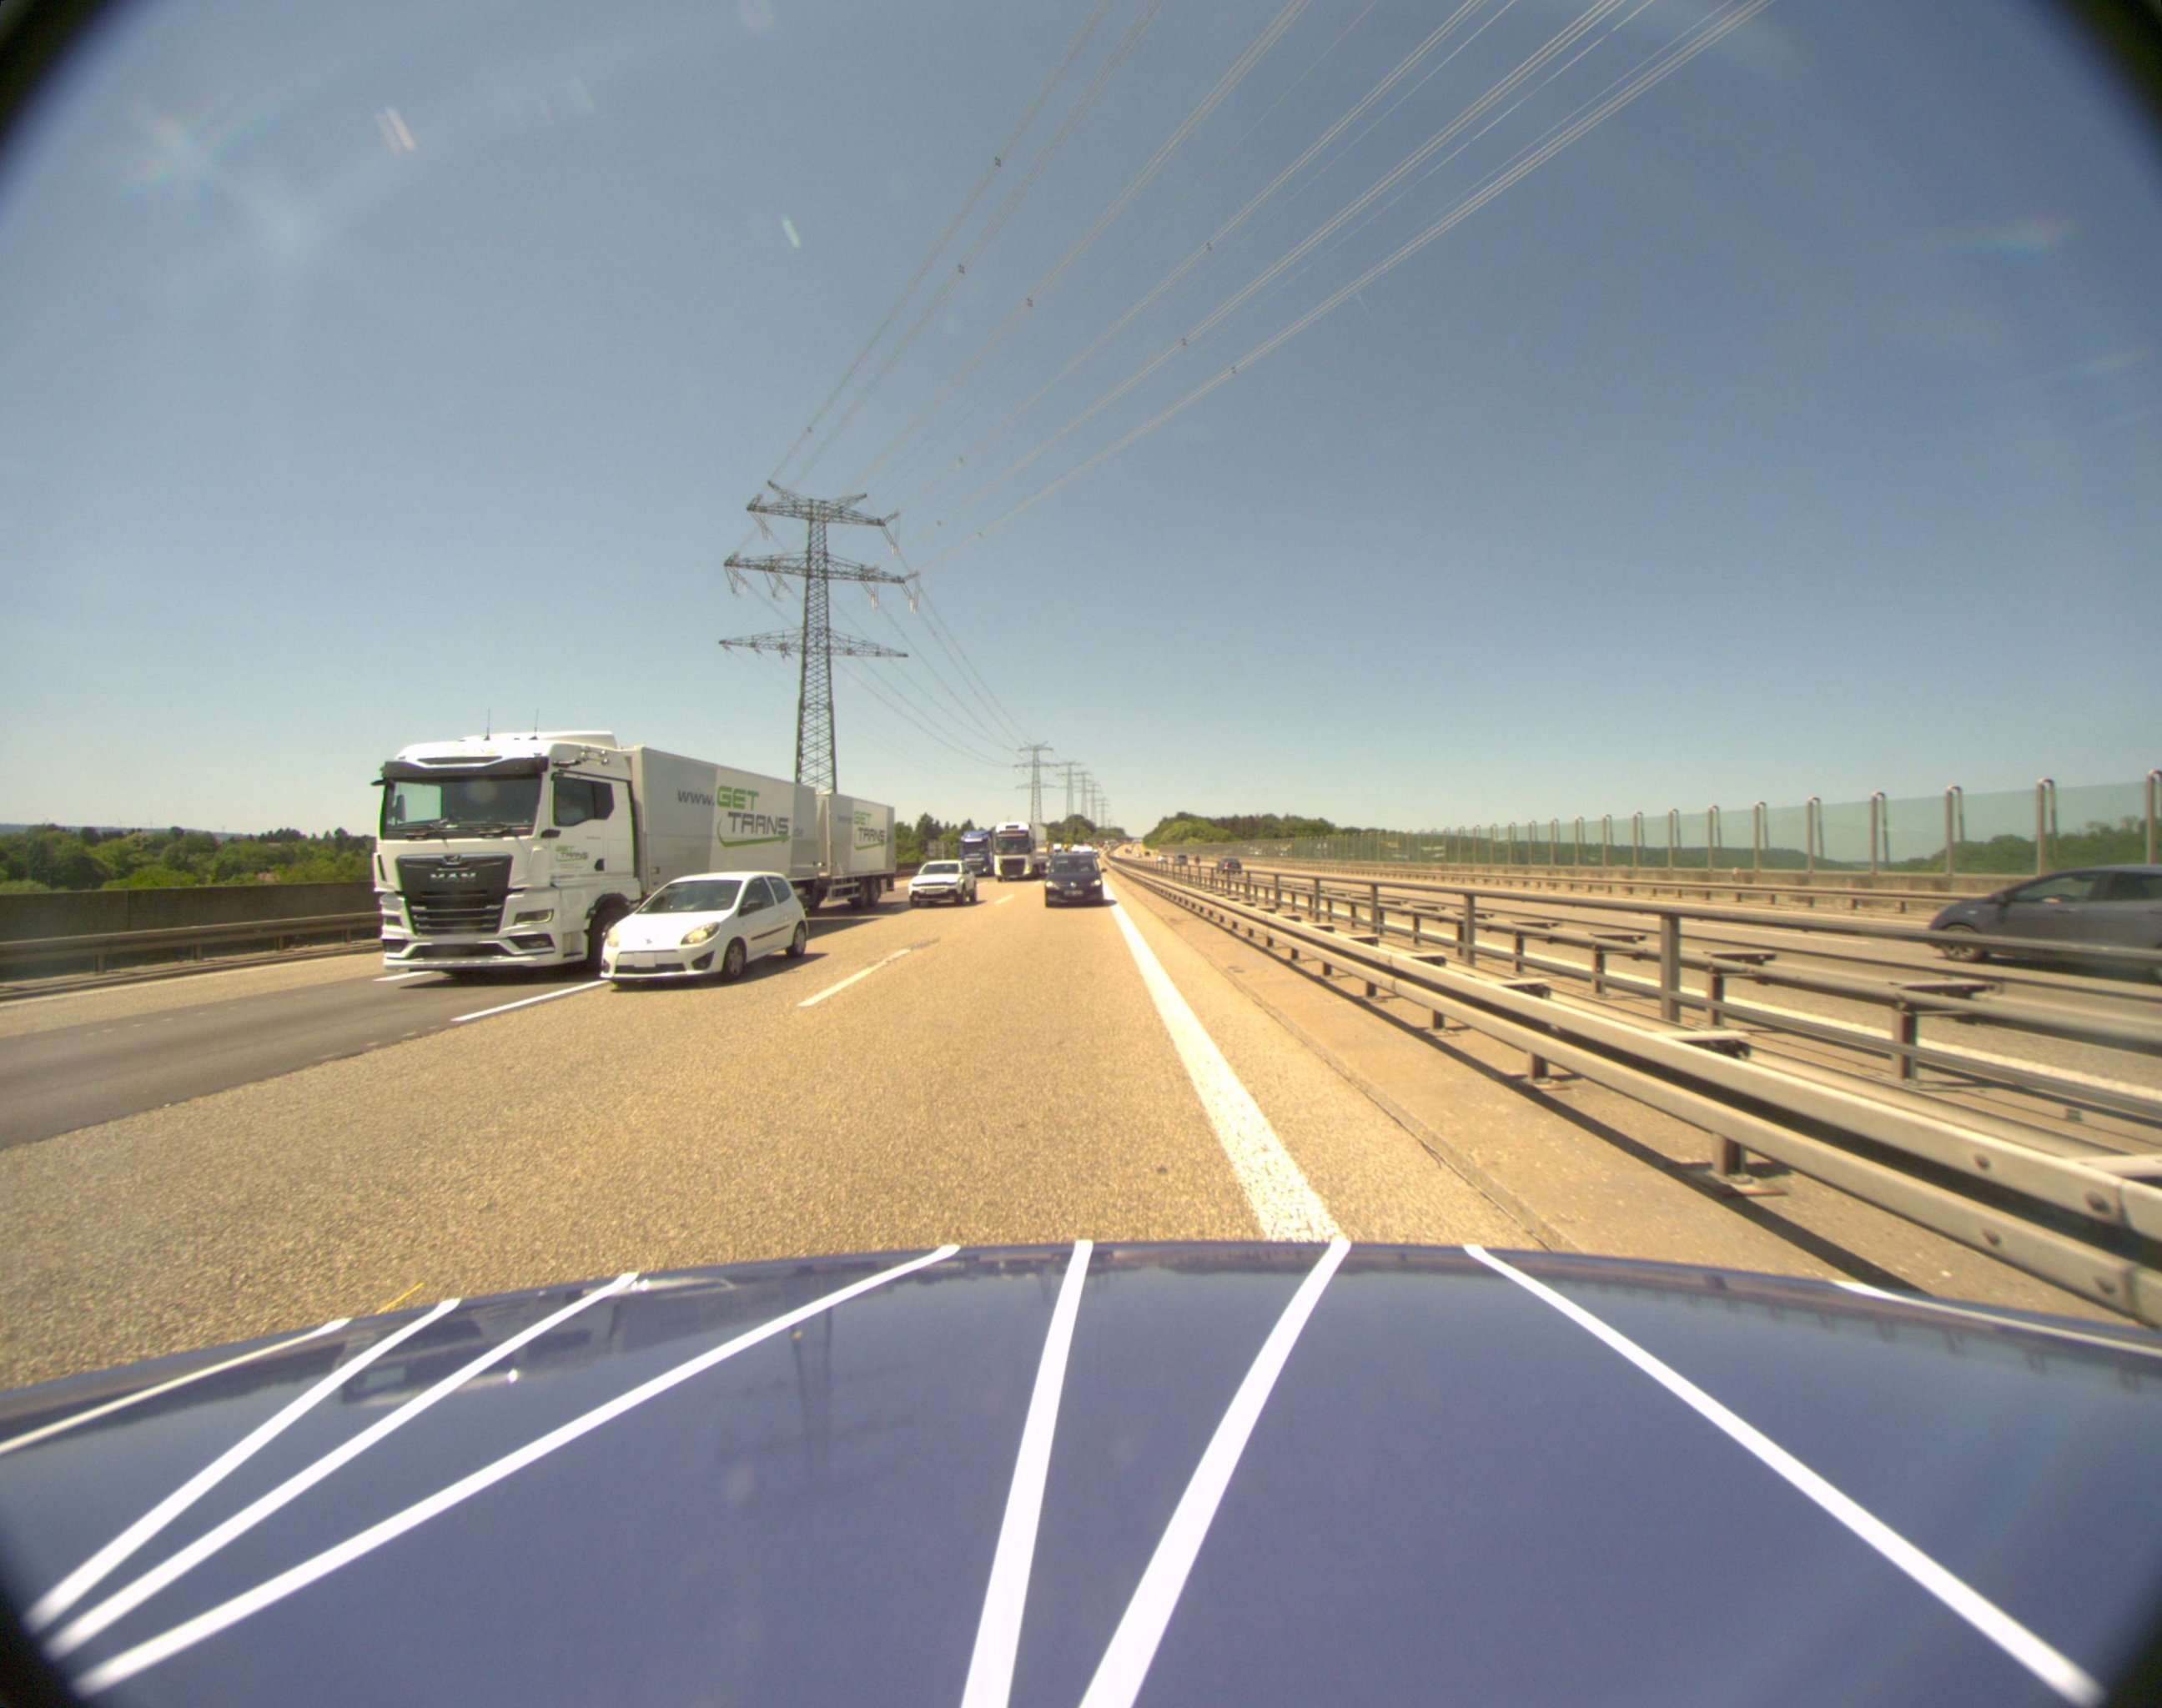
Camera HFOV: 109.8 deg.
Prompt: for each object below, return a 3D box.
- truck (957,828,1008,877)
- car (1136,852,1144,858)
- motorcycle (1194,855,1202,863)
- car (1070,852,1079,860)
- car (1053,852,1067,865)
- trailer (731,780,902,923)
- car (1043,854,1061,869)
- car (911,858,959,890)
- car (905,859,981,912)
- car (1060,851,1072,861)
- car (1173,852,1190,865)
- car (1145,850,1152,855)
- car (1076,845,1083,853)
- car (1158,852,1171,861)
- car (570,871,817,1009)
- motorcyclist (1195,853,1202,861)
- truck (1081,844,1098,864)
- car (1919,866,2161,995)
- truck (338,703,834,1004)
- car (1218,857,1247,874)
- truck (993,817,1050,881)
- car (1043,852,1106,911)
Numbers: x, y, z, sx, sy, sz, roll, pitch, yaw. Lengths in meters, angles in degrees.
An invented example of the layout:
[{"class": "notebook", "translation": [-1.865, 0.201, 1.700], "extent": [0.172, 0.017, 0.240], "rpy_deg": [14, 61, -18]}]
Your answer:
[{"class": "truck", "translation": [-8.575, -0.197, 67.681], "extent": [2.841, 3.858, 11.272], "rpy_deg": [-3, 1, 0]}, {"class": "car", "translation": [17.402, 0.311, 223.470], "extent": [1.820, 1.645, 3.999], "rpy_deg": [-3, 1, 0]}, {"class": "motorcycle", "translation": [18.439, 0.780, 119.600], "extent": [0.792, 1.065, 2.650], "rpy_deg": [0, 1, 0]}, {"class": "car", "translation": [-1.456, 0.462, 163.808], "extent": [1.821, 1.569, 3.999], "rpy_deg": [-2, 1, 0]}, {"class": "car", "translation": [-2.876, 0.611, 106.152], "extent": [1.821, 1.569, 3.999], "rpy_deg": [-2, 1, 0]}, {"class": "trailer", "translation": [-8.376, -0.085, 25.347], "extent": [2.752, 3.918, 7.773], "rpy_deg": [-3, 0, 0]}, {"class": "car", "translation": [-3.414, 0.842, 90.100], "extent": [1.821, 1.569, 3.999], "rpy_deg": [-2, 1, 0]}, {"class": "car", "translation": [-8.159, 1.062, 42.691], "extent": [1.821, 1.569, 3.999], "rpy_deg": [-2, 1, 0]}, {"class": "car", "translation": [-4.661, 1.013, 26.178], "extent": [1.776, 1.521, 3.851], "rpy_deg": [-3, 1, 1]}, {"class": "car", "translation": [-2.447, 0.326, 126.512], "extent": [1.821, 1.569, 3.999], "rpy_deg": [-2, 1, 0]}, {"class": "car", "translation": [14.037, 0.661, 106.192], "extent": [1.786, 1.692, 4.154], "rpy_deg": [0, 1, 0]}, {"class": "car", "translation": [22.382, -0.491, 252.270], "extent": [1.820, 1.824, 3.999], "rpy_deg": [-3, 1, 0]}, {"class": "car", "translation": [-0.357, -1.381, 216.067], "extent": [1.998, 2.002, 3.999], "rpy_deg": [-3, 1, 0]}, {"class": "car", "translation": [15.104, 0.521, 137.646], "extent": [1.735, 1.481, 4.124], "rpy_deg": [-3, 1, 0]}, {"class": "car", "translation": [-5.464, 1.109, 11.322], "extent": [1.660, 1.501, 3.825], "rpy_deg": [-3, 1, 0]}, {"class": "motorcyclist", "translation": [18.440, 0.476, 119.288], "extent": [0.921, 1.276, 1.286], "rpy_deg": [-3, 1, 0]}, {"class": "truck", "translation": [1.284, -0.041, 110.068], "extent": [2.309, 2.789, 5.109], "rpy_deg": [-3, 1, 1]}, {"class": "car", "translation": [13.722, 0.941, 9.921], "extent": [1.656, 1.454, 3.541], "rpy_deg": [0, 1, 1]}, {"class": "truck", "translation": [-8.438, -0.023, 15.807], "extent": [2.695, 3.907, 11.296], "rpy_deg": [-3, 0, 0]}, {"class": "car", "translation": [13.332, 0.988, 67.160], "extent": [1.765, 1.312, 4.270], "rpy_deg": [1, 1, 0]}, {"class": "truck", "translation": [-4.166, -0.340, 56.706], "extent": [2.717, 4.015, 14.256], "rpy_deg": [-3, 0, 1]}, {"class": "car", "translation": [-0.146, 0.796, 23.877], "extent": [1.748, 1.569, 4.000], "rpy_deg": [-3, 1, 1]}]
